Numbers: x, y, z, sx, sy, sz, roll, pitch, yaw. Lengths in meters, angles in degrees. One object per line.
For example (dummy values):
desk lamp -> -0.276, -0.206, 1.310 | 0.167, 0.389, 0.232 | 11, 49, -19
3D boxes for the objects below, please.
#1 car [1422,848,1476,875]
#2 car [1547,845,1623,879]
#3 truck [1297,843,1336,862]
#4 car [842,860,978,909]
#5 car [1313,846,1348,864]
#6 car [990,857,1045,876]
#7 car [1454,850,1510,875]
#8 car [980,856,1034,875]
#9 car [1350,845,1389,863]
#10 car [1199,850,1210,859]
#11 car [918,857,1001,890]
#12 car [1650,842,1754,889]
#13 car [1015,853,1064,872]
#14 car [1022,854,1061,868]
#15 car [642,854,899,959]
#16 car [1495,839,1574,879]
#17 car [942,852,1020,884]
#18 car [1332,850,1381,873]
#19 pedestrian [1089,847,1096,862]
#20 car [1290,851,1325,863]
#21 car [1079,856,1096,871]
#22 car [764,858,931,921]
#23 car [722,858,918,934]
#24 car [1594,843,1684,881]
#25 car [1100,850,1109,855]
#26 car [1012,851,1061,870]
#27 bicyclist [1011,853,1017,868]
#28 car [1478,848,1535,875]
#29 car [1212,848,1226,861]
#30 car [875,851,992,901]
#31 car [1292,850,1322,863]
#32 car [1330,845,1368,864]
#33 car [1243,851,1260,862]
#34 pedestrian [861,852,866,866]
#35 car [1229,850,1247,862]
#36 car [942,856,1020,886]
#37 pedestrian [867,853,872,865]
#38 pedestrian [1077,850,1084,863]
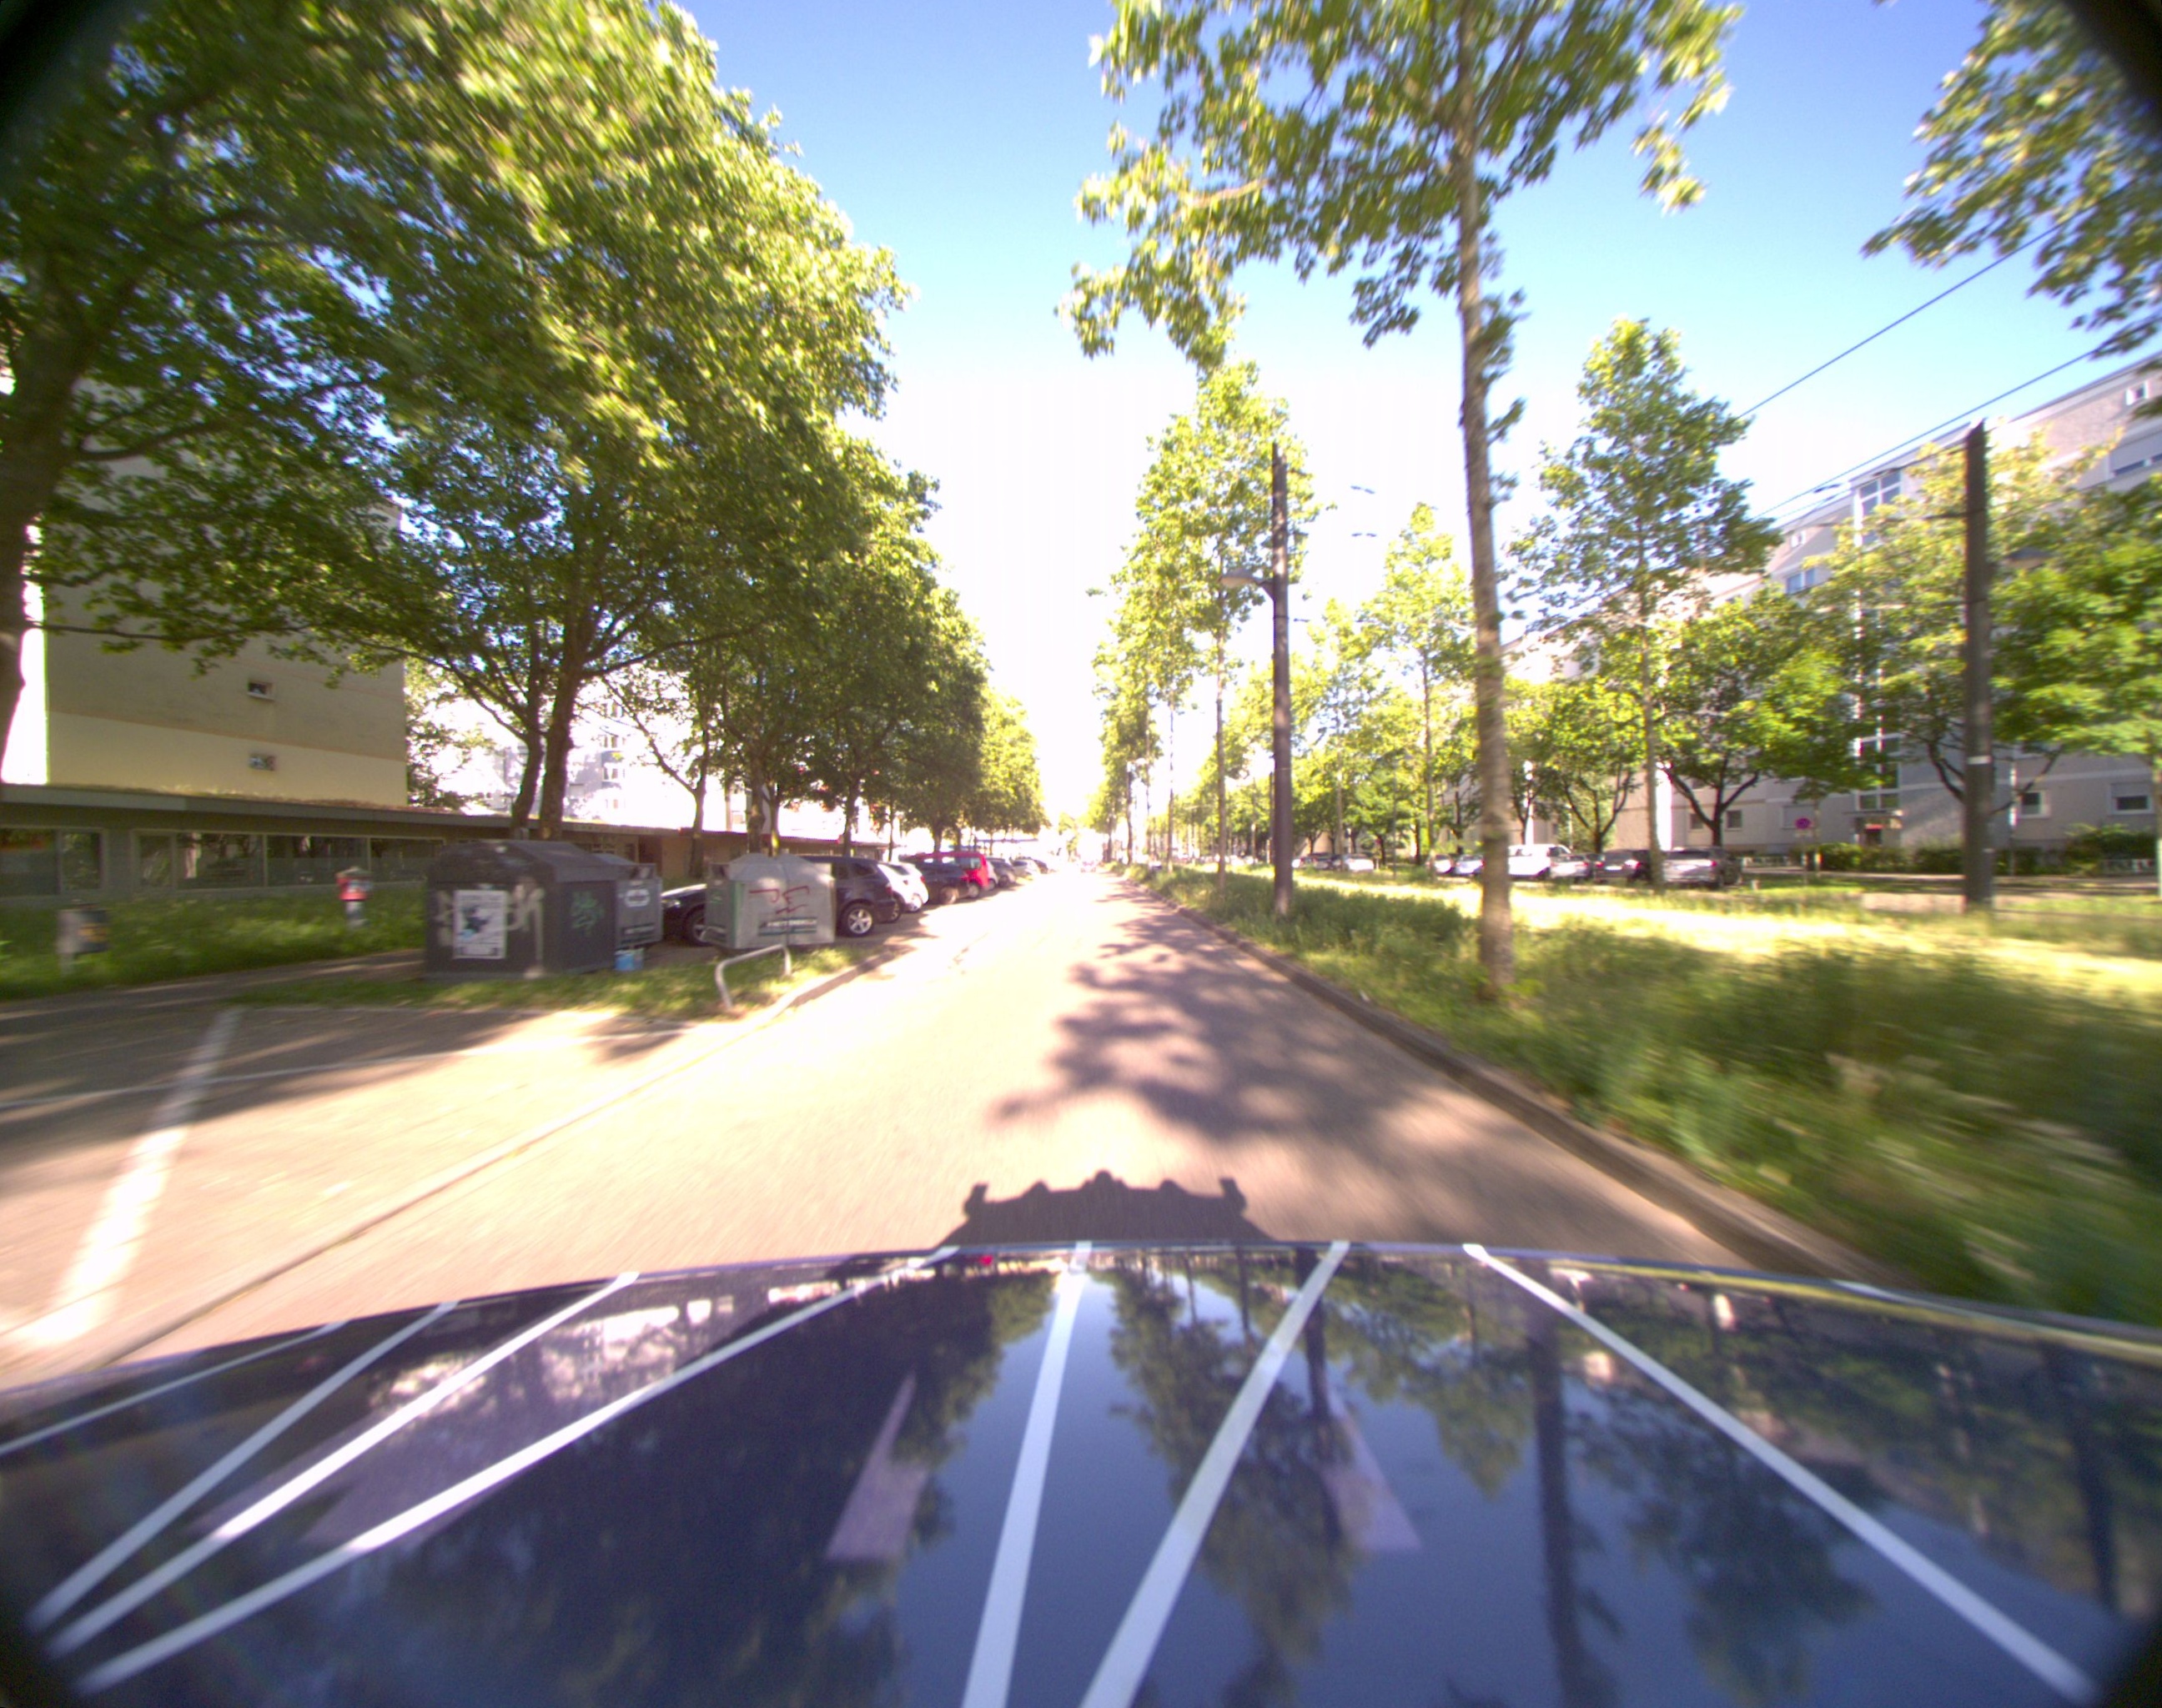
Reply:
car -> 24.304, 0.469, 50.101 | 4.093, 1.636, 1.647 | -1, -1, -41
car -> 24.677, 0.388, 37.169 | 4.091, 1.424, 1.576 | -3, 0, -33
truck -> 24.392, -0.192, 78.665 | 4.092, 1.766, 1.645 | -2, 7, -35
car -> -5.654, 0.953, 25.280 | 4.093, 1.472, 1.647 | 0, 1, -35
car -> 24.603, 0.066, 74.897 | 1.646, 1.637, 4.093 | 2, 2, 43
car -> -5.103, 0.992, 61.331 | 4.194, 1.404, 1.715 | 0, 1, -42
car -> 24.729, 0.498, 46.767 | 4.093, 1.474, 1.647 | -1, 1, -41
car -> -5.543, 0.840, 57.200 | 3.947, 1.365, 1.583 | 0, 1, -42
car -> 25.583, 0.008, 67.406 | 1.647, 1.466, 4.094 | -6, -4, 44
car -> 23.880, 0.134, 146.746 | 1.598, 1.626, 3.930 | -1, 0, 1
car -> -5.711, 0.890, 35.983 | 1.646, 1.440, 3.635 | 1, 1, 45
car -> 24.209, 0.386, 29.613 | 4.092, 1.599, 1.988 | -1, 5, -35
car -> -3.894, 0.763, 71.770 | 4.512, 1.695, 1.756 | 0, 1, -40
car -> -4.476, 0.760, 85.679 | 4.005, 1.461, 1.756 | 2, 0, -30
car -> -5.921, 0.901, 14.783 | 4.329, 1.707, 1.631 | -1, 0, -38
car -> 24.052, 0.256, 40.235 | 4.807, 1.994, 1.888 | -1, -1, -37
car -> -5.648, 0.766, 43.105 | 4.036, 1.695, 1.756 | 0, 1, -40
car -> 19.357, 0.489, 53.622 | 1.928, 1.497, 4.085 | 2, 0, 0
pedestrian -> 1.548, 0.045, 99.772 | 0.799, 1.874, 0.928 | -1, 0, 5
car -> 24.518, 0.312, 82.321 | 3.833, 1.239, 1.835 | -1, 0, -41
car -> 0.731, 1.027, 82.126 | 1.619, 1.536, 4.277 | -1, 0, 2
car -> -6.452, 0.909, 21.248 | 4.093, 1.573, 1.776 | 0, 1, -41
car -> -6.137, 0.904, 18.029 | 4.092, 1.573, 1.776 | 0, 1, -34
car -> 24.352, 0.332, 33.126 | 4.092, 1.521, 1.814 | -1, -1, -33
car -> 6.975, -0.493, 224.593 | 1.545, 1.522, 3.597 | -3, 1, -19
car -> -4.428, 0.637, 75.675 | 4.680, 1.842, 1.825 | 0, 1, -39
bicyclist -> -7.706, 0.769, 87.406 | 0.624, 1.730, 1.023 | -1, 1, 1
car -> 24.737, 0.406, 44.118 | 4.093, 1.424, 1.575 | -1, 2, -41
car -> 24.504, 0.135, 135.296 | 1.718, 2.249, 3.933 | -1, 0, 0
car -> -5.595, 0.780, 29.069 | 4.093, 1.800, 1.646 | 0, 1, -39
car -> 25.567, 0.266, 85.995 | 1.835, 1.426, 3.833 | -1, 0, 42
car -> 25.182, 0.034, 71.301 | 4.094, 1.636, 1.647 | 0, -2, -45
car -> 24.980, 0.330, 111.309 | 1.718, 1.537, 4.201 | -1, 0, 2
pedestrian -> -27.258, 0.665, 95.346 | 0.496, 1.690, 0.715 | -1, 0, -4
car -> 21.386, 0.277, 103.725 | 1.650, 1.477, 3.849 | 0, 1, 1
car -> -5.199, 0.868, 39.701 | 3.795, 1.462, 1.646 | 0, 1, -42
pedestrian -> -26.713, 0.634, 96.041 | 0.533, 1.422, 0.715 | -1, 0, -4
pedestrian -> -0.074, 0.291, 97.412 | 0.714, 1.696, 0.652 | 0, 1, -33
